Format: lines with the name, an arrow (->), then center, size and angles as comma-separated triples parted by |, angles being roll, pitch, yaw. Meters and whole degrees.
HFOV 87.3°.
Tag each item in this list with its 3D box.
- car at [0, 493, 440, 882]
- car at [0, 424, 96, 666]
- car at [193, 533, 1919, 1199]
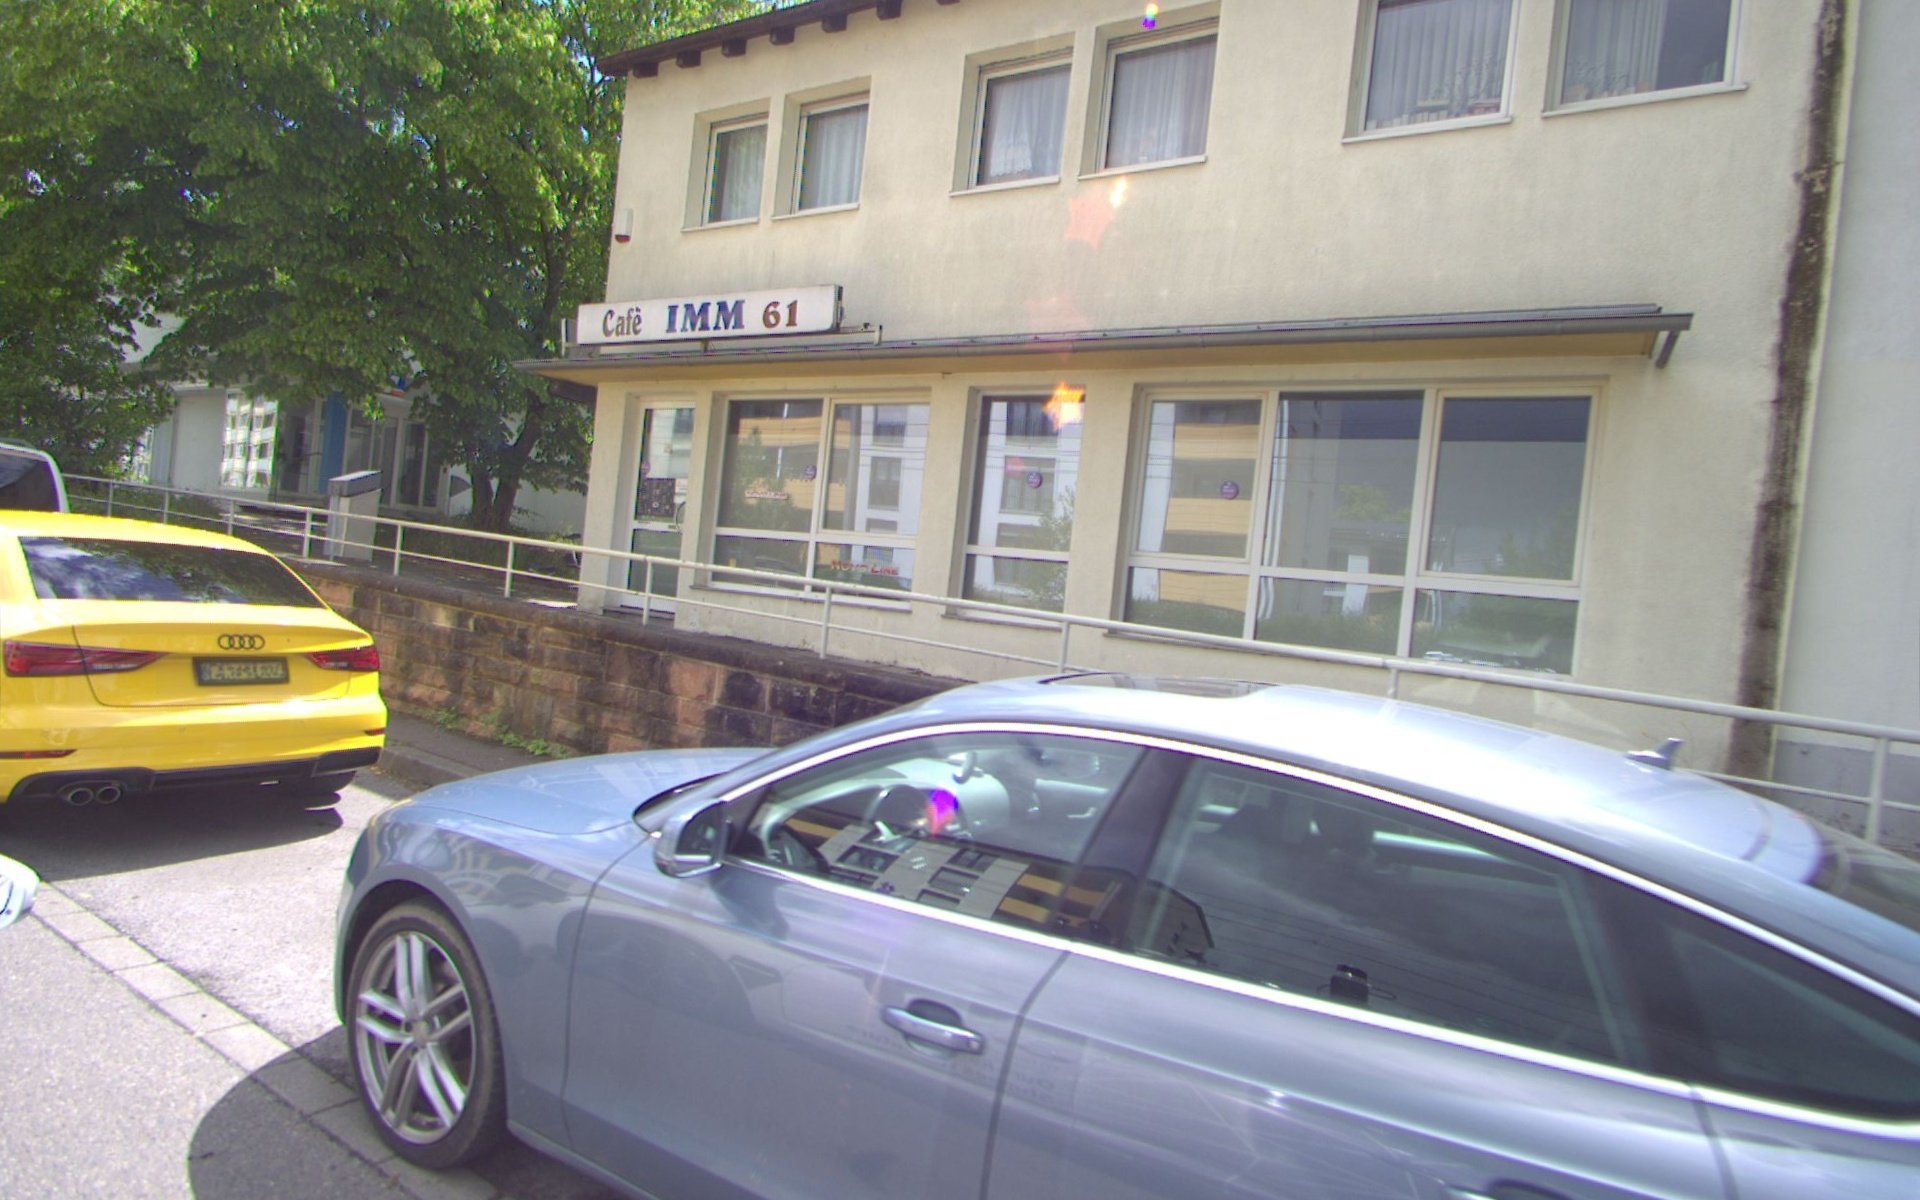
car -> -5.017, 0.187, 5.617 | 4.269, 1.461, 1.756 | 7, 1, 32
car -> -10.482, -0.737, 9.391 | 5.649, 1.983, 1.916 | 7, 1, 31
car -> 0.246, 0.806, 2.471 | 4.417, 1.460, 1.757 | 7, 1, 30
